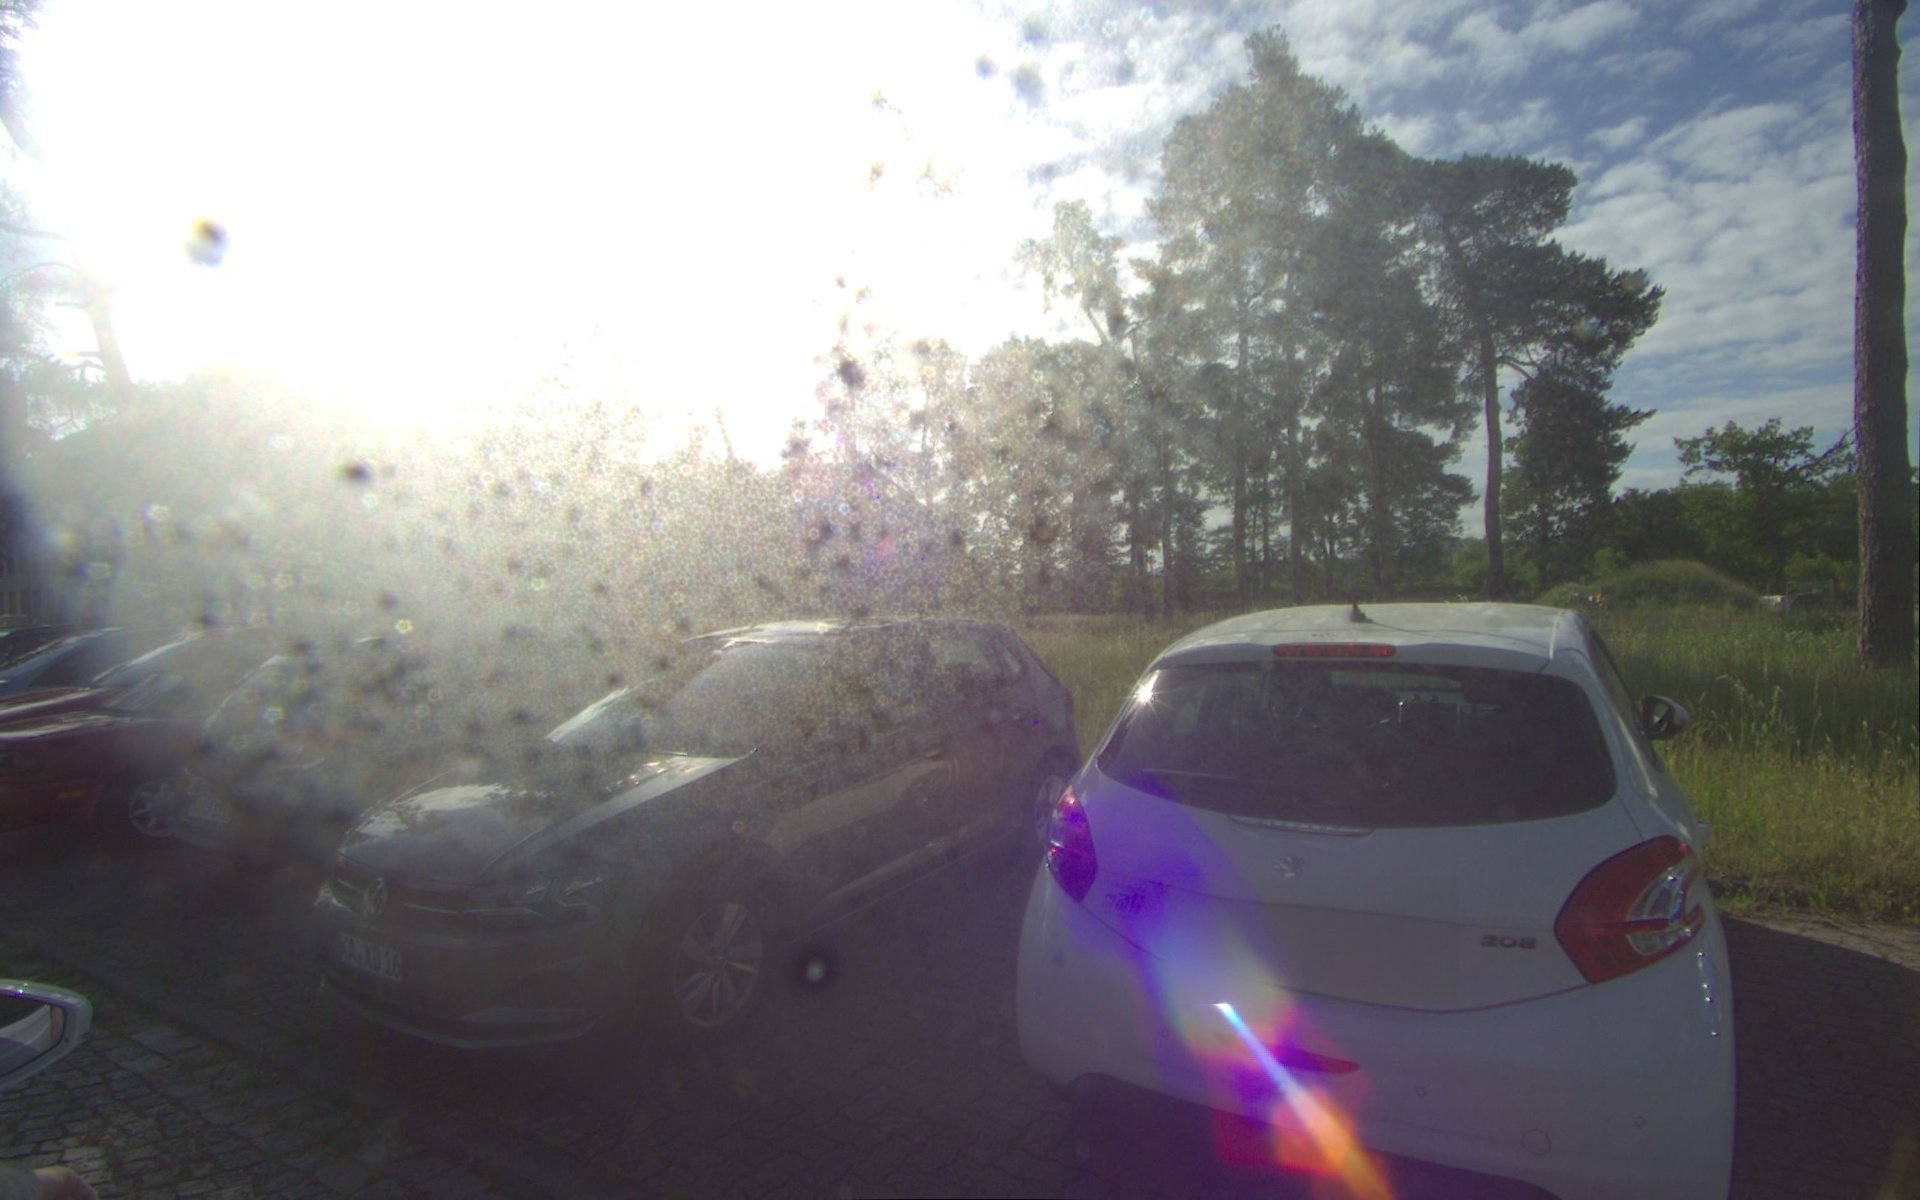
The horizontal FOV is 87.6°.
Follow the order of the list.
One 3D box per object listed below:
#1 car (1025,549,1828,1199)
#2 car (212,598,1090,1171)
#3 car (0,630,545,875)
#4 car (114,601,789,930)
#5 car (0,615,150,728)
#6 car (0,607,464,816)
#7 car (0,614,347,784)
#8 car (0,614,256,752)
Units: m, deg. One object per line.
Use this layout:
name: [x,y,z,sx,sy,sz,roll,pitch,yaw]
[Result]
car: [1.913,0.631,3.953,1.736,1.555,3.697,0,2,32]
car: [-1.002,0.789,4.795,1.830,1.469,3.697,0,2,32]
car: [-5.462,0.962,7.909,1.721,1.240,3.697,0,2,32]
car: [-3.101,0.806,6.850,1.790,1.469,3.698,0,2,32]
car: [-13.592,1.004,13.459,1.613,1.434,3.872,0,2,32]
car: [-7.143,0.876,9.493,1.613,1.469,4.117,0,2,32]
car: [-9.140,0.954,10.360,1.755,1.434,4.420,0,2,32]
car: [-11.330,0.984,11.908,1.613,1.434,4.548,0,2,32]
